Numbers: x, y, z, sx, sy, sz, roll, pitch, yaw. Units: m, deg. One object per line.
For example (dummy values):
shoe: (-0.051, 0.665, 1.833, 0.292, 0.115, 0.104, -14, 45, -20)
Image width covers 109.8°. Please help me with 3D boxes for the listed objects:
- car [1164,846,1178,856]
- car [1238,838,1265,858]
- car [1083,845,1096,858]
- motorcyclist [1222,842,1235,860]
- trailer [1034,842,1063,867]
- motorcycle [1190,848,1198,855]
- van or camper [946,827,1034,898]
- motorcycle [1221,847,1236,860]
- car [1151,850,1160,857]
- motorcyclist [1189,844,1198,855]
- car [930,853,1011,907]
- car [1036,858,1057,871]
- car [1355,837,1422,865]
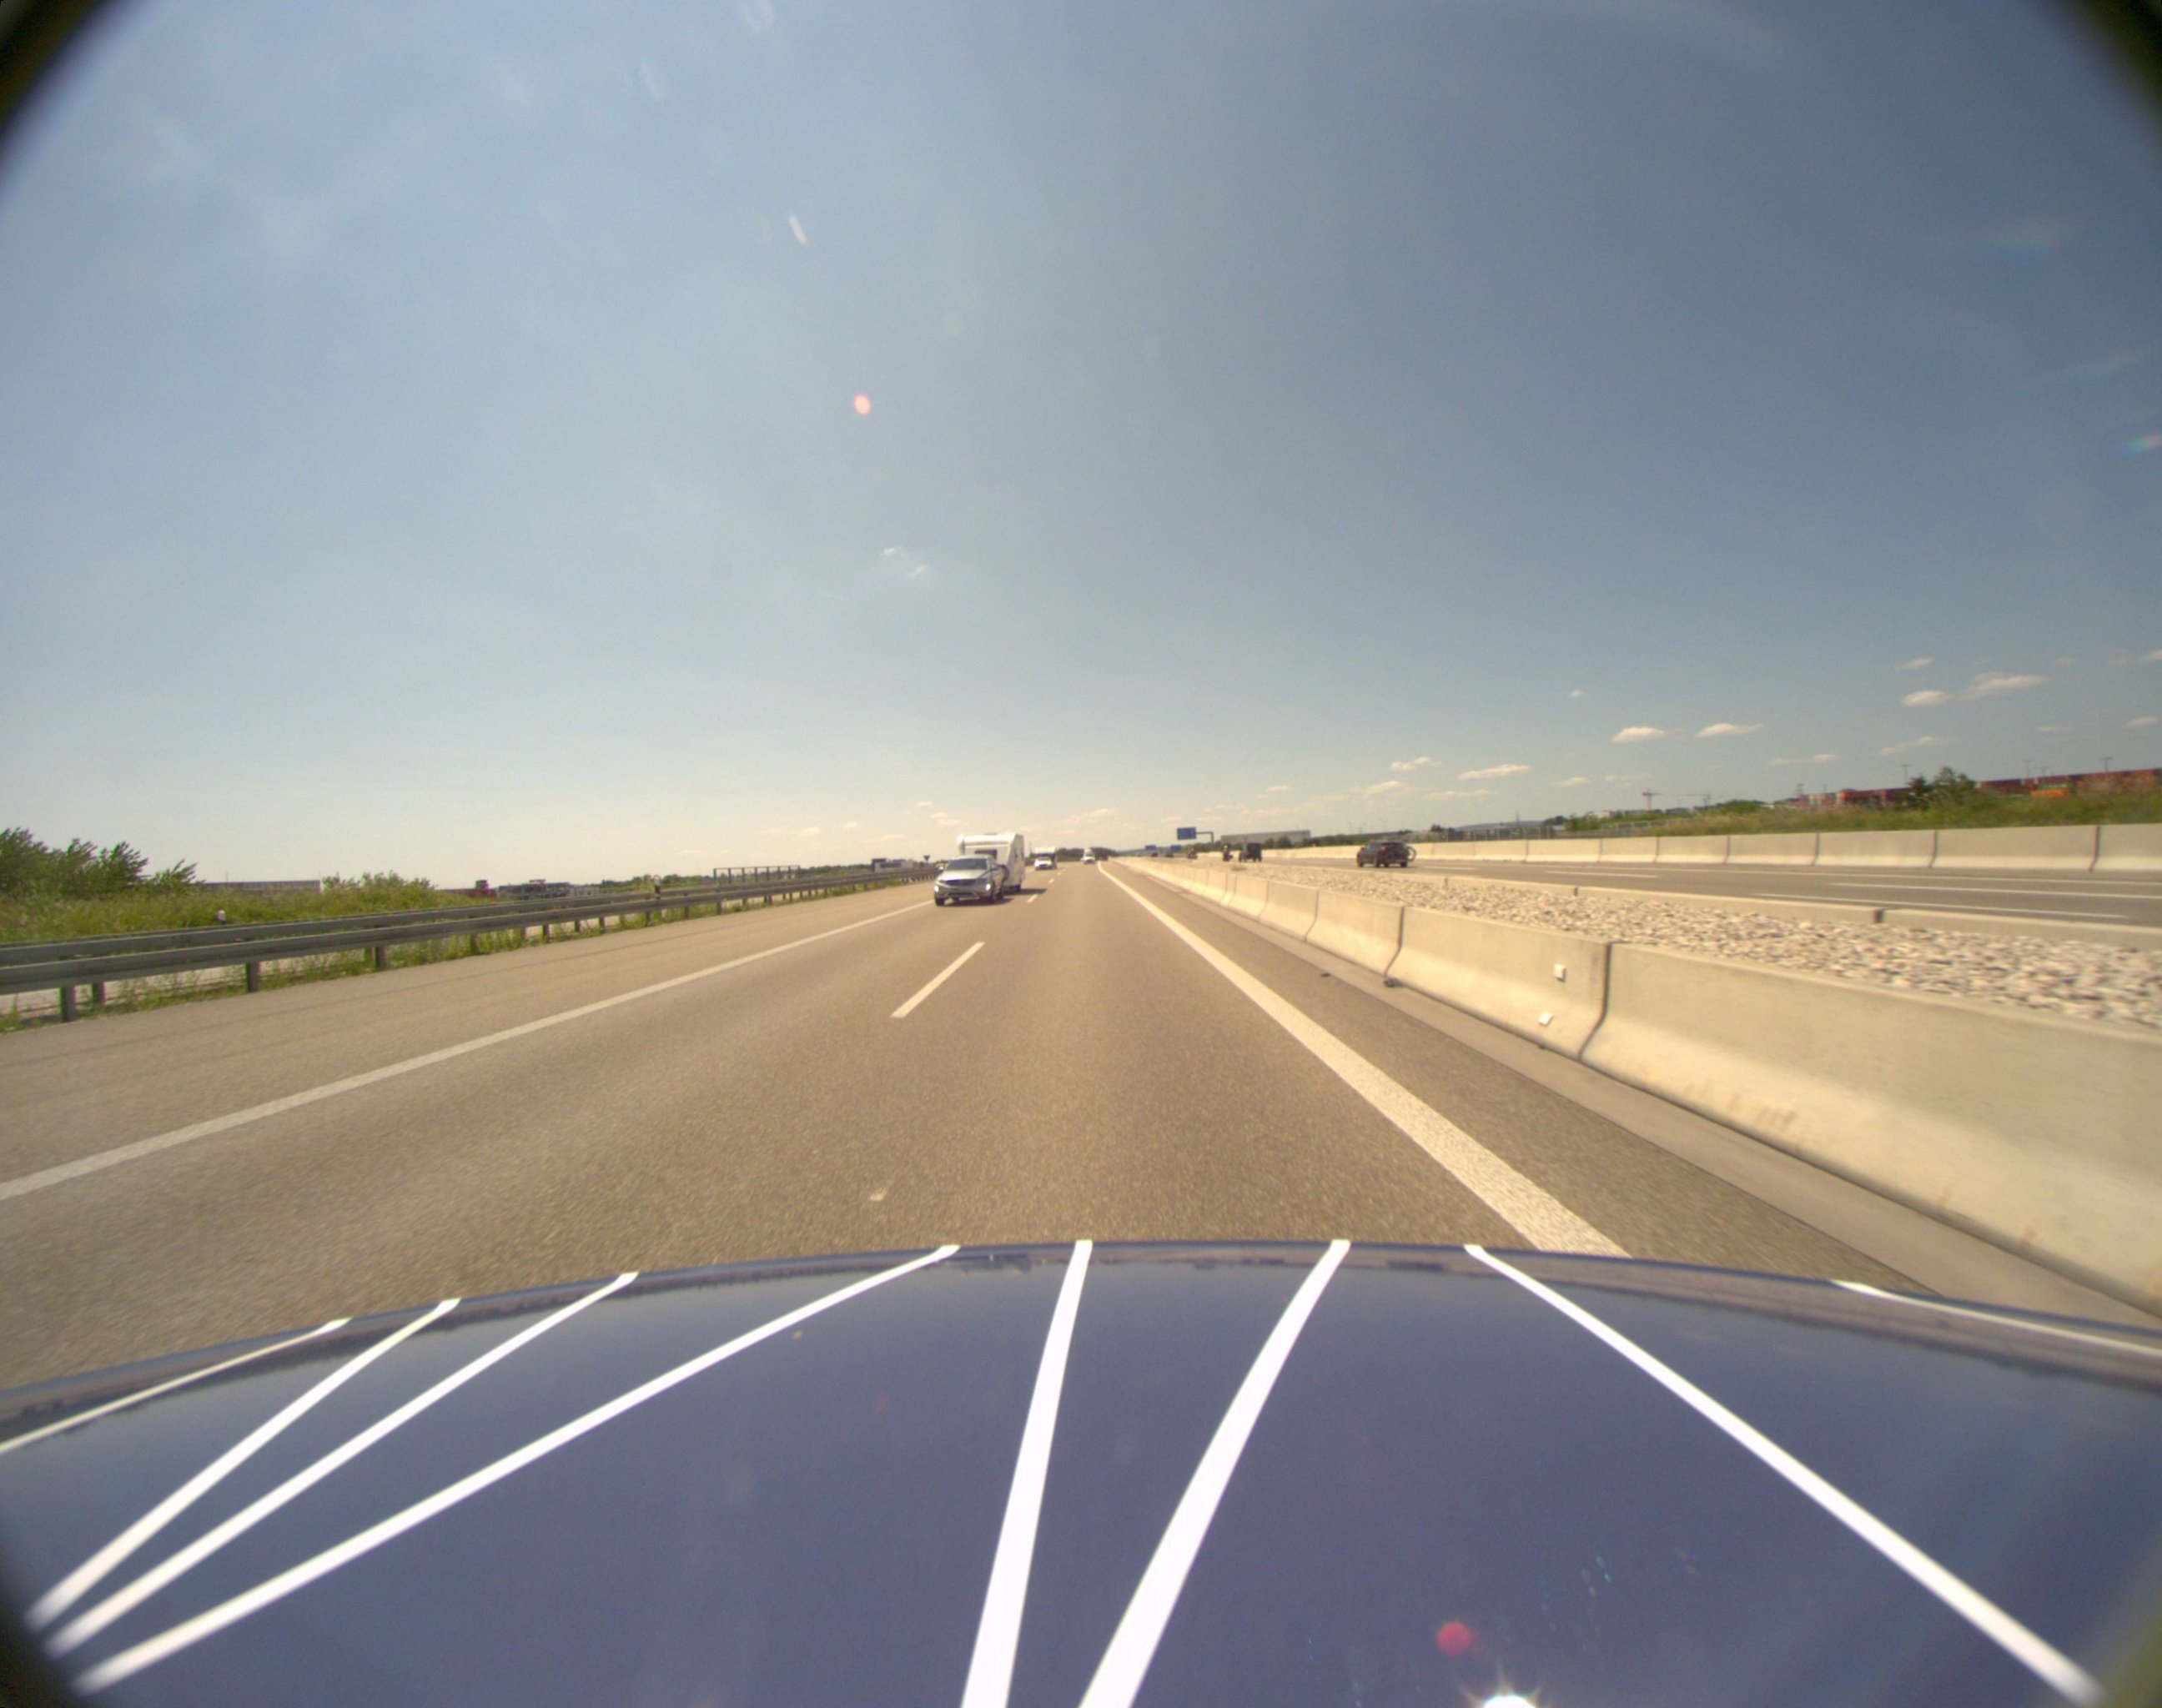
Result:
car: (16.186, -0.541, 136.945, 1.998, 1.659, 4.649, -2, 0, 2)
car: (18.192, -0.627, 81.322, 1.889, 2.006, 4.735, -2, 0, 2)
car: (1.495, -0.444, 127.694, 1.998, 2.002, 4.000, -2, 1, 1)
motorcyclist: (13.852, -0.311, 71.405, 0.922, 1.612, 1.088, -2, 1, 1)
trailer: (-3.721, 0.050, 88.814, 2.500, 2.686, 7.157, -2, 0, 3)
motorcycle: (14.909, -0.299, 100.442, 0.777, 0.897, 2.705, -2, 0, 2)
van or camper: (-3.675, 0.342, 32.560, 2.518, 2.577, 7.818, -2, 0, 2)
motorcycle: (13.899, -0.037, 71.752, 0.960, 1.162, 2.722, -2, 0, 1)
car: (18.094, -0.163, 184.592, 1.889, 1.676, 5.016, -2, 0, 2)
motorcyclist: (14.920, -0.604, 100.863, 0.920, 1.488, 0.923, -2, 1, 2)
car: (-3.708, 0.823, 26.312, 1.885, 1.613, 4.904, -2, 0, 2)
car: (-3.772, 1.108, 83.423, 1.872, 1.352, 3.673, -1, 0, 3)
car: (17.744, -0.169, 44.078, 1.873, 1.482, 5.139, -3, 0, 2)
